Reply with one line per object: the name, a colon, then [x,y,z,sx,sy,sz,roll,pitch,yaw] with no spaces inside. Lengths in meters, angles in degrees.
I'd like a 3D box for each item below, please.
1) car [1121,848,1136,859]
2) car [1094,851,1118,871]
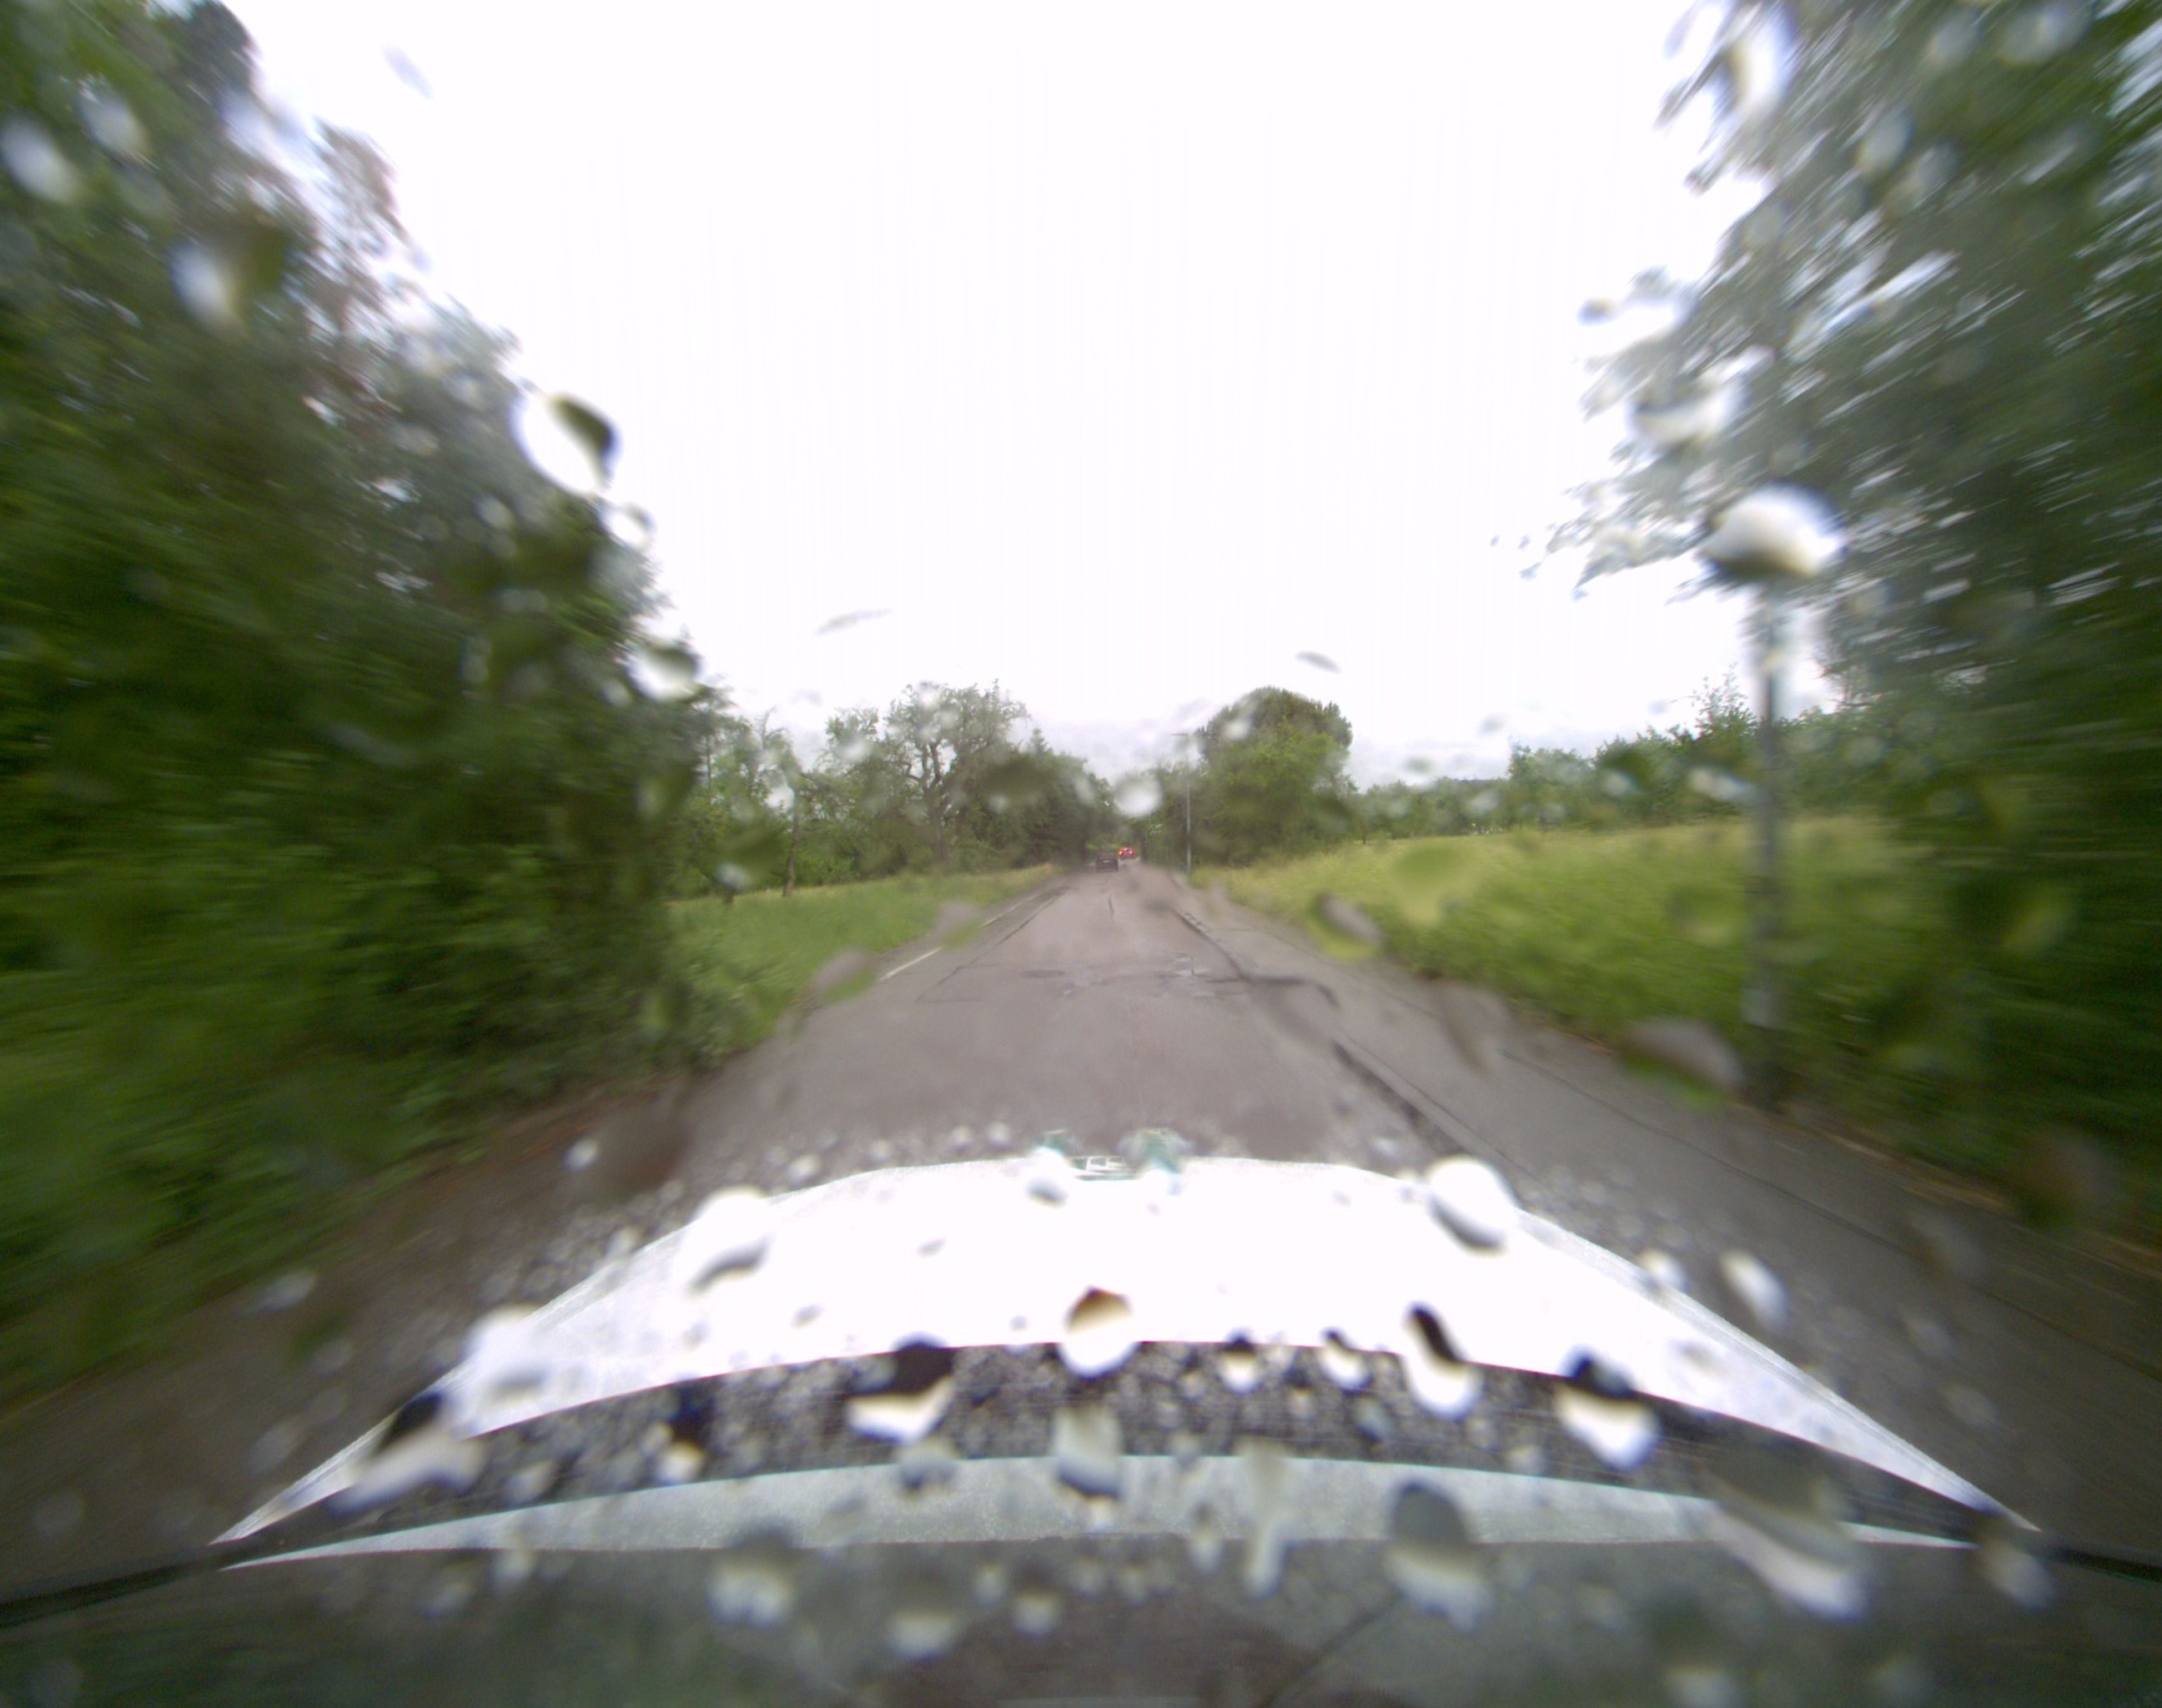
car: [6.338,-0.019,108.534,1.625,1.414,3.553,-2,-1,9]
car: [2.010,0.572,65.203,1.627,1.450,3.549,-2,-1,5]
